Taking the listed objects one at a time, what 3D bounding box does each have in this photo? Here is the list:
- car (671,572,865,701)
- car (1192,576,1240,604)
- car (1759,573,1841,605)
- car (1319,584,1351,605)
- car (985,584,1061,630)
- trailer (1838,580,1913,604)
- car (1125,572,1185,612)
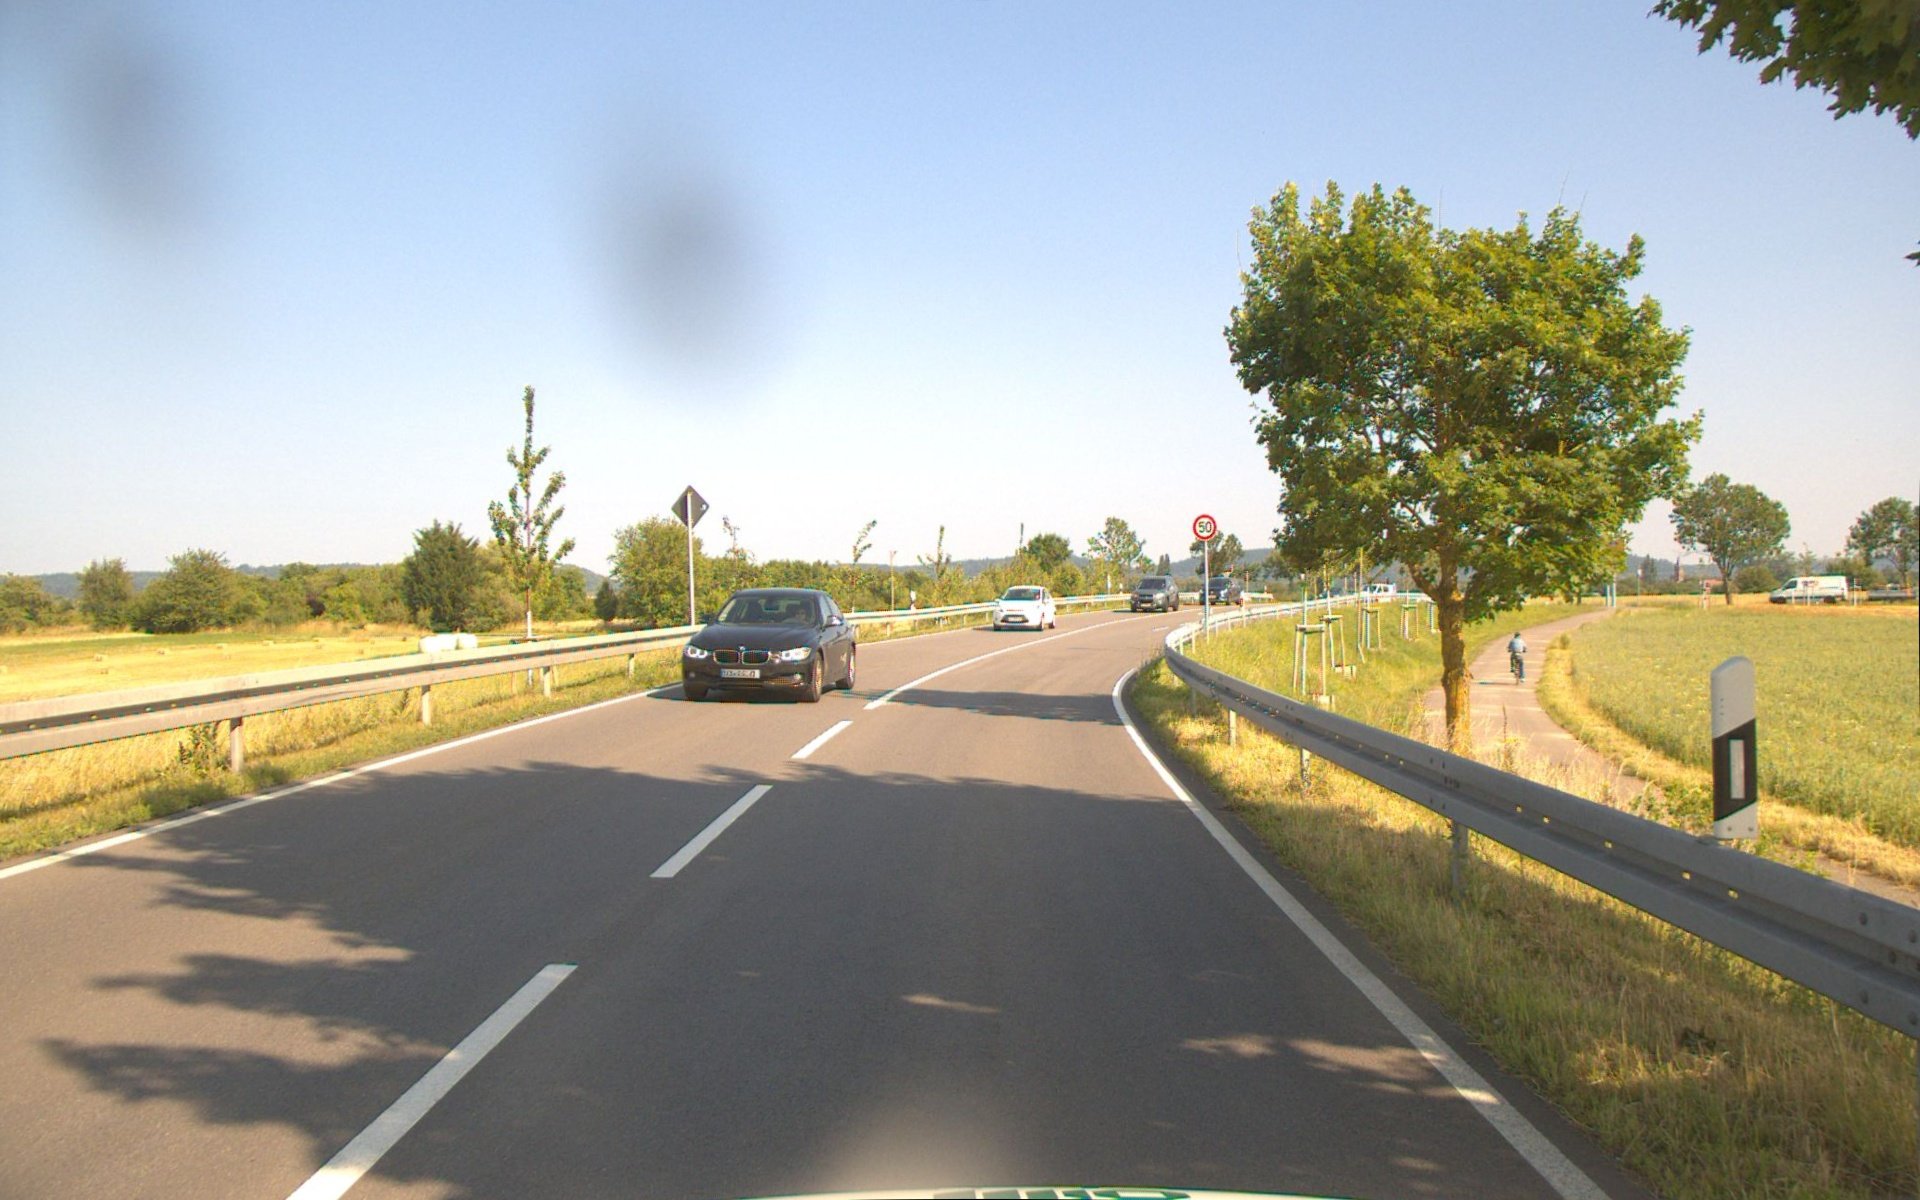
[{"bbox_3d":[-2.509,0.500,22.654,1.799,1.571,4.247,1,-1,5],"label":"car"},{"bbox_3d":[15.685,-0.633,101.196,1.952,1.620,4.864,1,1,21],"label":"car"},{"bbox_3d":[70.173,-0.925,138.265,5.858,2.536,1.992,1,-1,37],"label":"car"},{"bbox_3d":[30.532,-0.452,134.549,1.758,1.473,4.706,1,3,22],"label":"car"},{"bbox_3d":[2.174,0.225,56.013,1.813,1.474,4.157,1,0,13],"label":"car"},{"bbox_3d":[74.569,-0.627,134.772,5.173,1.784,1.946,-1,-1,37],"label":"trailer"},{"bbox_3d":[9.662,-0.373,81.622,1.843,1.829,5.092,1,-1,20],"label":"car"}]
